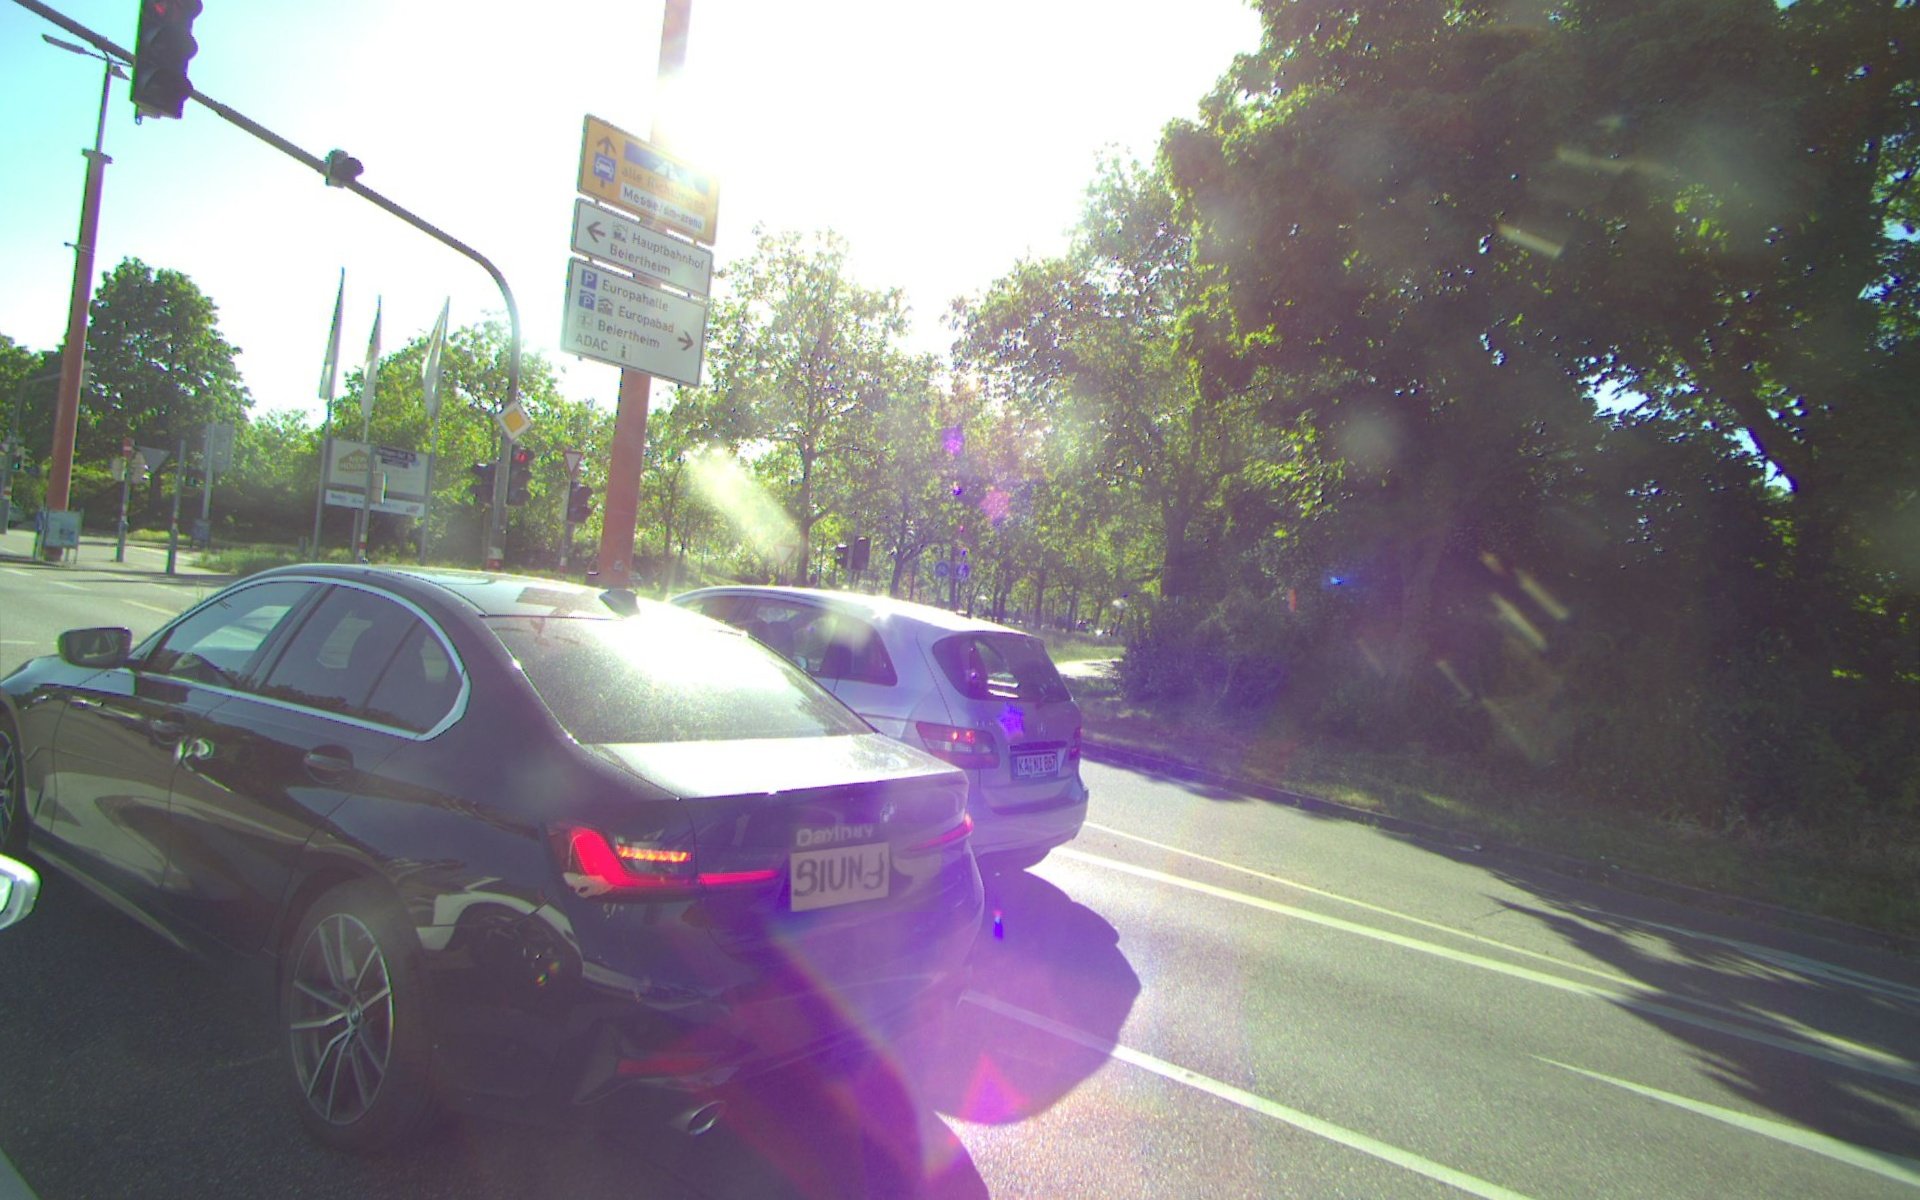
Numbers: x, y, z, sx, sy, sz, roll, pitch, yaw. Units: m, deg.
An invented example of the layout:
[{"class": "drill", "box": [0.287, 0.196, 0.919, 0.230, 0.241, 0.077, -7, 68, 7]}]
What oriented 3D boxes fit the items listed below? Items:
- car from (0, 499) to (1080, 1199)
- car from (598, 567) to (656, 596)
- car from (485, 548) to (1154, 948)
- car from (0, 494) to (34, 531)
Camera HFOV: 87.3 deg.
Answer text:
[{"class": "car", "box": [-1.981, 0.544, 3.859, 4.372, 1.415, 1.871, 7, 0, 34]}, {"class": "car", "box": [-23.719, -1.293, 71.852, 1.834, 1.597, 4.002, 7, -1, 17]}, {"class": "car", "box": [-1.017, 0.704, 6.484, 3.963, 1.597, 1.741, 7, 0, 33]}, {"class": "car", "box": [-43.608, -4.090, 44.123, 3.942, 1.485, 1.675, 7, 0, -23]}]
